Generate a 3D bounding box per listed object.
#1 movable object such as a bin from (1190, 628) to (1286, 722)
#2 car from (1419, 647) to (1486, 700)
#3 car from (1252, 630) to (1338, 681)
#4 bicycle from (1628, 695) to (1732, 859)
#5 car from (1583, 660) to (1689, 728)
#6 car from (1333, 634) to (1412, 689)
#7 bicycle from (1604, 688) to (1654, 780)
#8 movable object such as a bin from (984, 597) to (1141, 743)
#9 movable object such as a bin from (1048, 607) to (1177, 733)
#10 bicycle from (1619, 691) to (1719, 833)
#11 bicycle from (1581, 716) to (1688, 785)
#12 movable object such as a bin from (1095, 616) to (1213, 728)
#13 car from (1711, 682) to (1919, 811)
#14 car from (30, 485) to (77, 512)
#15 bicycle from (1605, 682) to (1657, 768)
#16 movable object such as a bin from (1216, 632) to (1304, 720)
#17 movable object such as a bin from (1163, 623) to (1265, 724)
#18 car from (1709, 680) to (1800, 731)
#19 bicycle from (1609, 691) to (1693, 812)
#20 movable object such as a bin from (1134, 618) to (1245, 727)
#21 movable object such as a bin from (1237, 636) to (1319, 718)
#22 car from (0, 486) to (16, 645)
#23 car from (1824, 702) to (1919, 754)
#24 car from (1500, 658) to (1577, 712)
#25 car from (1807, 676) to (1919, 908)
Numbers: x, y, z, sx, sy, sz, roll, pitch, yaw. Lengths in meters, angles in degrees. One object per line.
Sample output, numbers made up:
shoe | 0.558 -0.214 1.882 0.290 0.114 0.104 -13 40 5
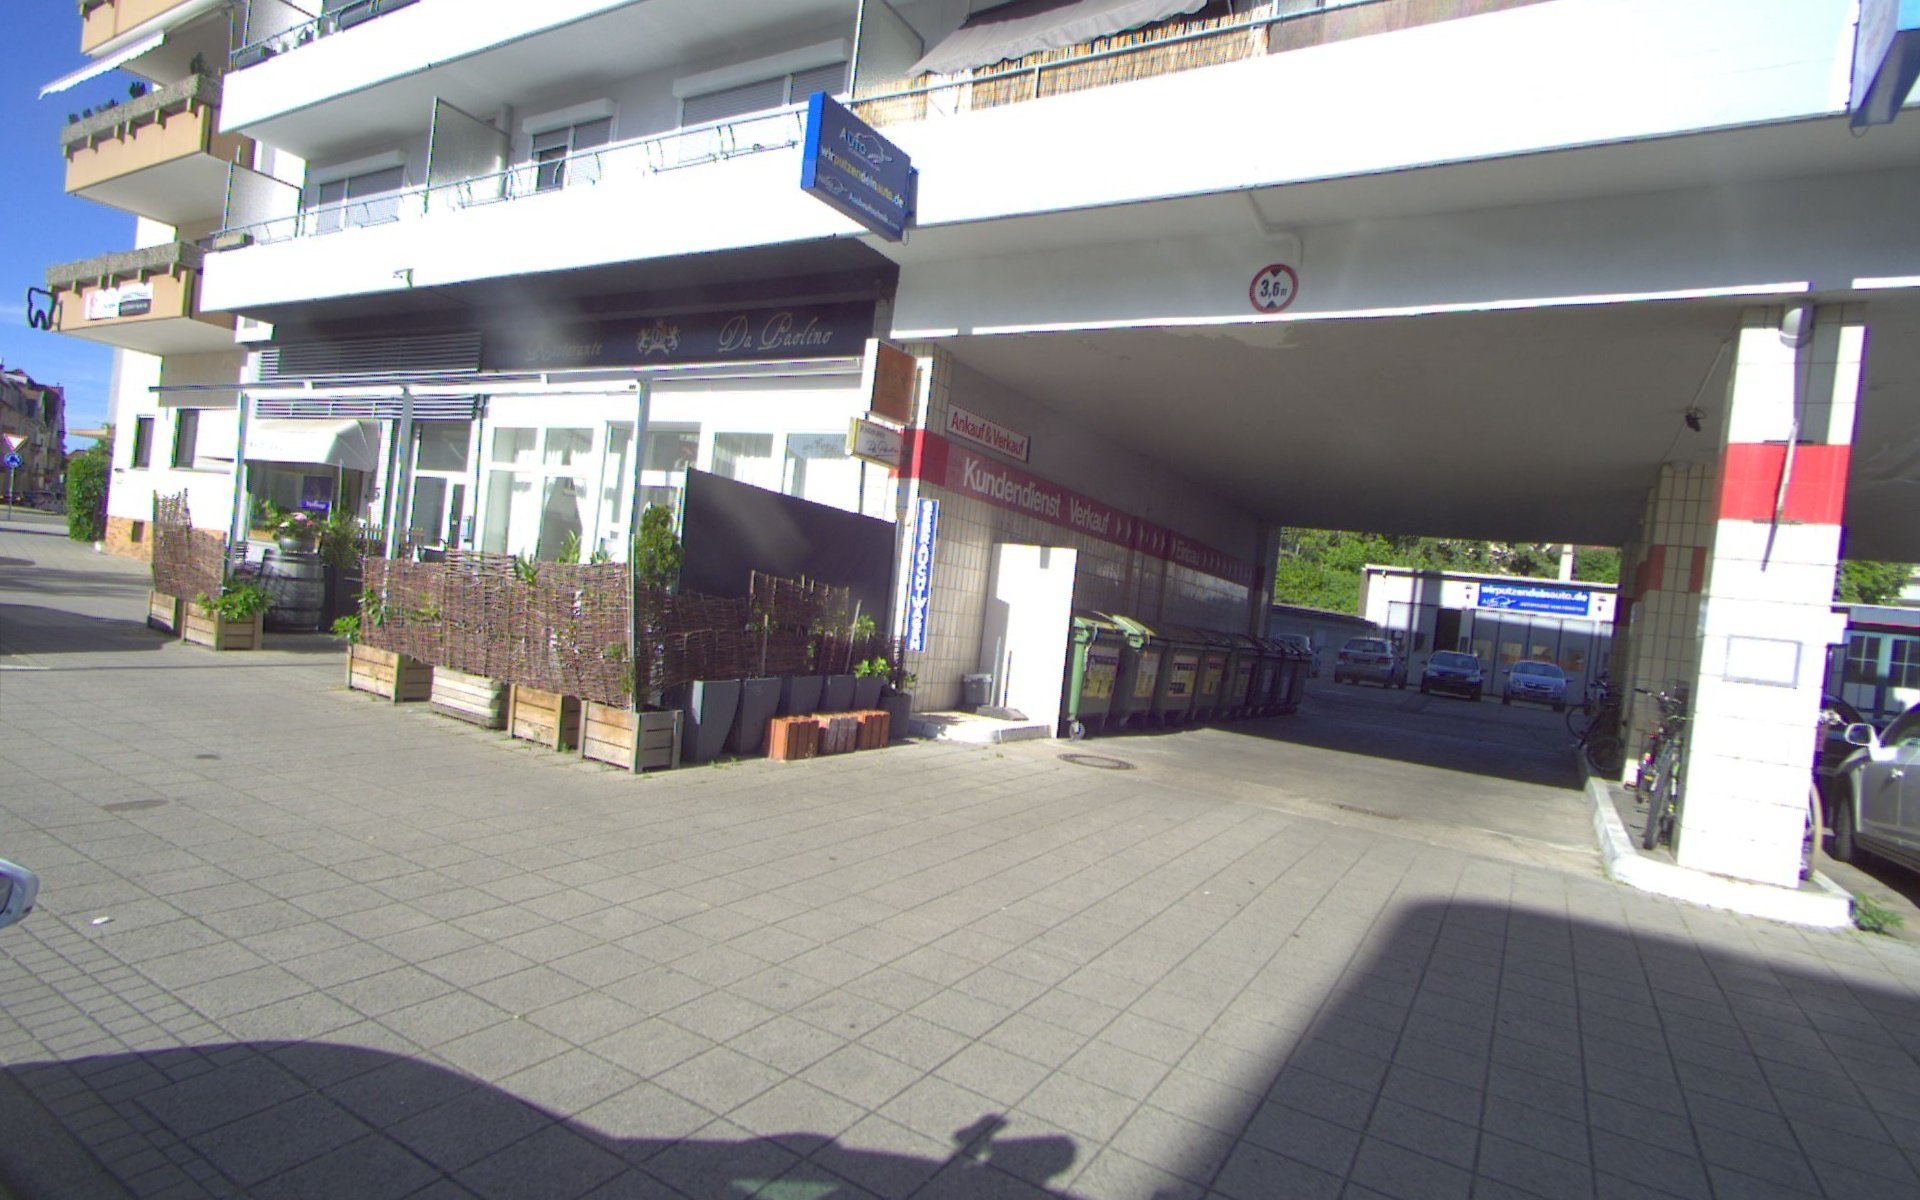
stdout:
movable object such as a bin | 5.013 1.342 18.094 1.221 1.524 1.327 4 -2 32
car | 15.938 2.381 32.605 1.727 1.459 3.997 4 -2 26
car | 12.519 2.112 37.491 1.969 1.592 3.990 4 -2 34
bicycle | 5.508 1.299 7.753 0.459 1.090 1.568 4 -2 31
car | 19.671 2.720 29.456 1.883 1.605 3.997 7 -1 26
car | 13.758 2.070 33.472 1.720 1.592 3.356 4 -2 34
bicycle | 9.709 1.907 14.637 0.475 1.175 2.056 4 -1 32
movable object such as a bin | 1.241 0.817 11.900 1.244 1.517 1.464 4 -2 30
movable object such as a bin | 2.014 0.908 13.149 1.143 1.484 1.332 4 -2 31
bicycle | 6.389 1.412 9.122 0.458 1.122 1.590 4 -2 28
bicycle | 8.569 1.908 12.811 1.061 0.674 0.323 7 1 33
movable object such as a bin | 2.788 1.022 14.378 1.166 1.436 1.292 4 -2 33
car | 12.624 2.065 15.009 1.706 1.494 3.994 4 -2 30
car | -78.849 -8.808 87.571 2.419 1.833 4.675 7 0 -37
bicycle | 10.915 2.032 16.410 0.562 1.249 2.088 4 -3 32
movable object such as a bin | 5.774 1.459 19.330 1.221 1.524 1.327 4 -2 32
movable object such as a bin | 4.279 1.230 16.891 1.221 1.524 1.327 4 -2 32
car | 30.179 3.978 38.326 1.884 1.605 3.996 7 -1 28
bicycle | 7.225 1.543 10.566 0.458 1.122 1.590 4 -2 28
movable object such as a bin | 3.582 1.119 15.666 1.221 1.524 1.327 4 -2 32
movable object such as a bin | 6.534 1.579 20.648 1.221 1.524 1.327 4 -2 32
car | -10.381 -0.470 9.100 4.930 1.468 1.970 6 -1 39
car | 25.740 3.526 27.241 3.170 1.182 1.996 4 -2 31
car | 18.143 2.661 31.676 1.727 1.459 3.997 4 -2 26
car | 7.880 1.443 7.175 1.946 1.531 4.396 6 0 30
